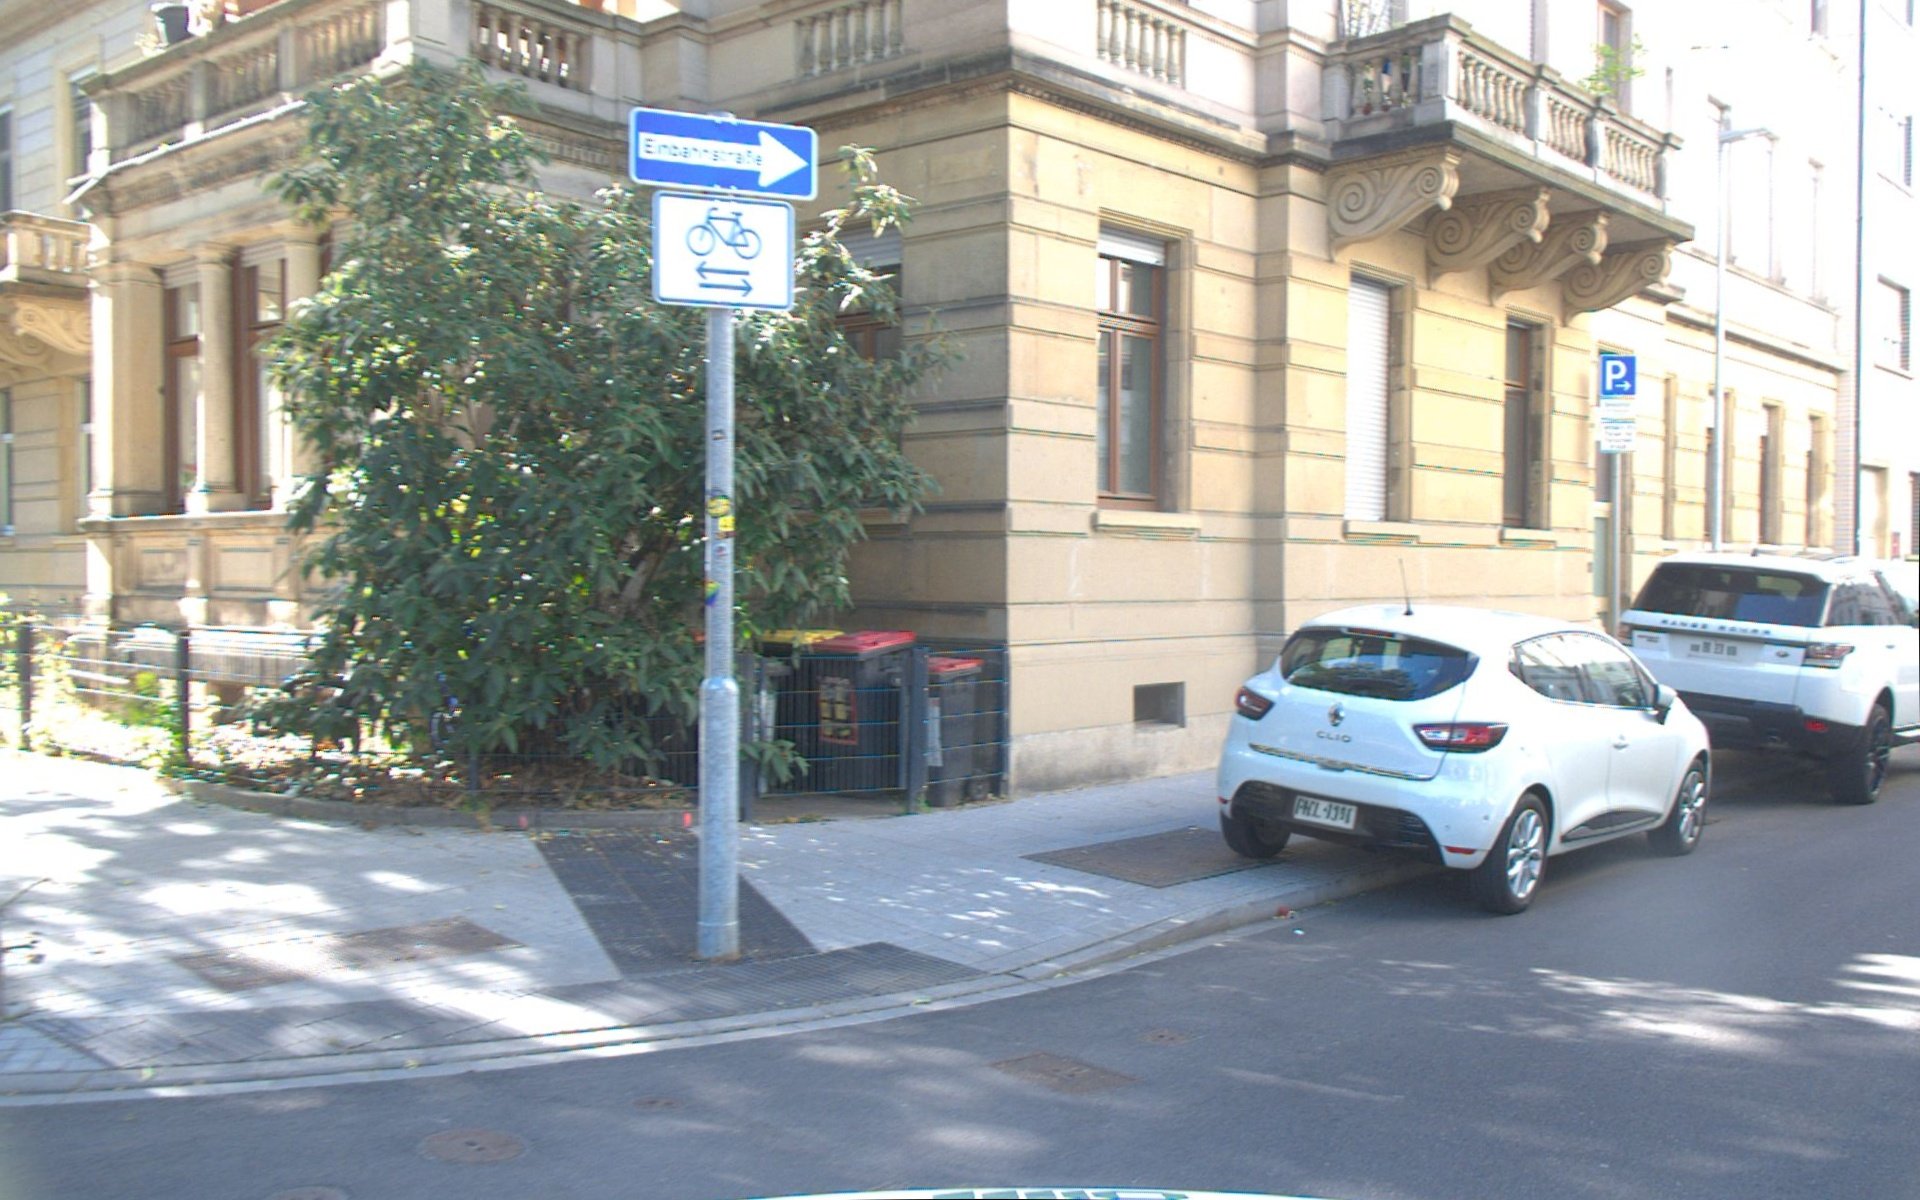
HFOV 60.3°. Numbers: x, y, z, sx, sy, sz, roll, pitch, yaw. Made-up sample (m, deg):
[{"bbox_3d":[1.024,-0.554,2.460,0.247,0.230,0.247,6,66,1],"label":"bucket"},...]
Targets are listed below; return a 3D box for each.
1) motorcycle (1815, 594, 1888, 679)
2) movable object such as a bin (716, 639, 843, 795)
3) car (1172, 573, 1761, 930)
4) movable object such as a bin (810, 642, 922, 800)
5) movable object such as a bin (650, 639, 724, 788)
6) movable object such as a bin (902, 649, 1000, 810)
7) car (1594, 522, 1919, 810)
[{"bbox_3d":[13.653,0.536,25.318,0.421,1.220,2.128,0,1,44],"label":"motorcycle"},{"bbox_3d":[-1.229,0.776,11.282,0.538,0.987,0.685,0,1,42],"label":"movable object such as a bin"},{"bbox_3d":[3.127,0.693,9.715,1.840,1.588,3.919,3,2,41],"label":"car"},{"bbox_3d":[-0.628,0.792,11.045,0.538,0.987,0.517,0,1,42],"label":"movable object such as a bin"},{"bbox_3d":[-1.886,0.774,11.420,0.375,0.987,0.343,0,1,42],"label":"movable object such as a bin"},{"bbox_3d":[-0.056,0.830,10.769,0.391,0.987,0.517,0,1,42],"label":"movable object such as a bin"},{"bbox_3d":[7.286,0.439,14.107,1.993,2.049,4.514,1,1,43],"label":"car"}]
